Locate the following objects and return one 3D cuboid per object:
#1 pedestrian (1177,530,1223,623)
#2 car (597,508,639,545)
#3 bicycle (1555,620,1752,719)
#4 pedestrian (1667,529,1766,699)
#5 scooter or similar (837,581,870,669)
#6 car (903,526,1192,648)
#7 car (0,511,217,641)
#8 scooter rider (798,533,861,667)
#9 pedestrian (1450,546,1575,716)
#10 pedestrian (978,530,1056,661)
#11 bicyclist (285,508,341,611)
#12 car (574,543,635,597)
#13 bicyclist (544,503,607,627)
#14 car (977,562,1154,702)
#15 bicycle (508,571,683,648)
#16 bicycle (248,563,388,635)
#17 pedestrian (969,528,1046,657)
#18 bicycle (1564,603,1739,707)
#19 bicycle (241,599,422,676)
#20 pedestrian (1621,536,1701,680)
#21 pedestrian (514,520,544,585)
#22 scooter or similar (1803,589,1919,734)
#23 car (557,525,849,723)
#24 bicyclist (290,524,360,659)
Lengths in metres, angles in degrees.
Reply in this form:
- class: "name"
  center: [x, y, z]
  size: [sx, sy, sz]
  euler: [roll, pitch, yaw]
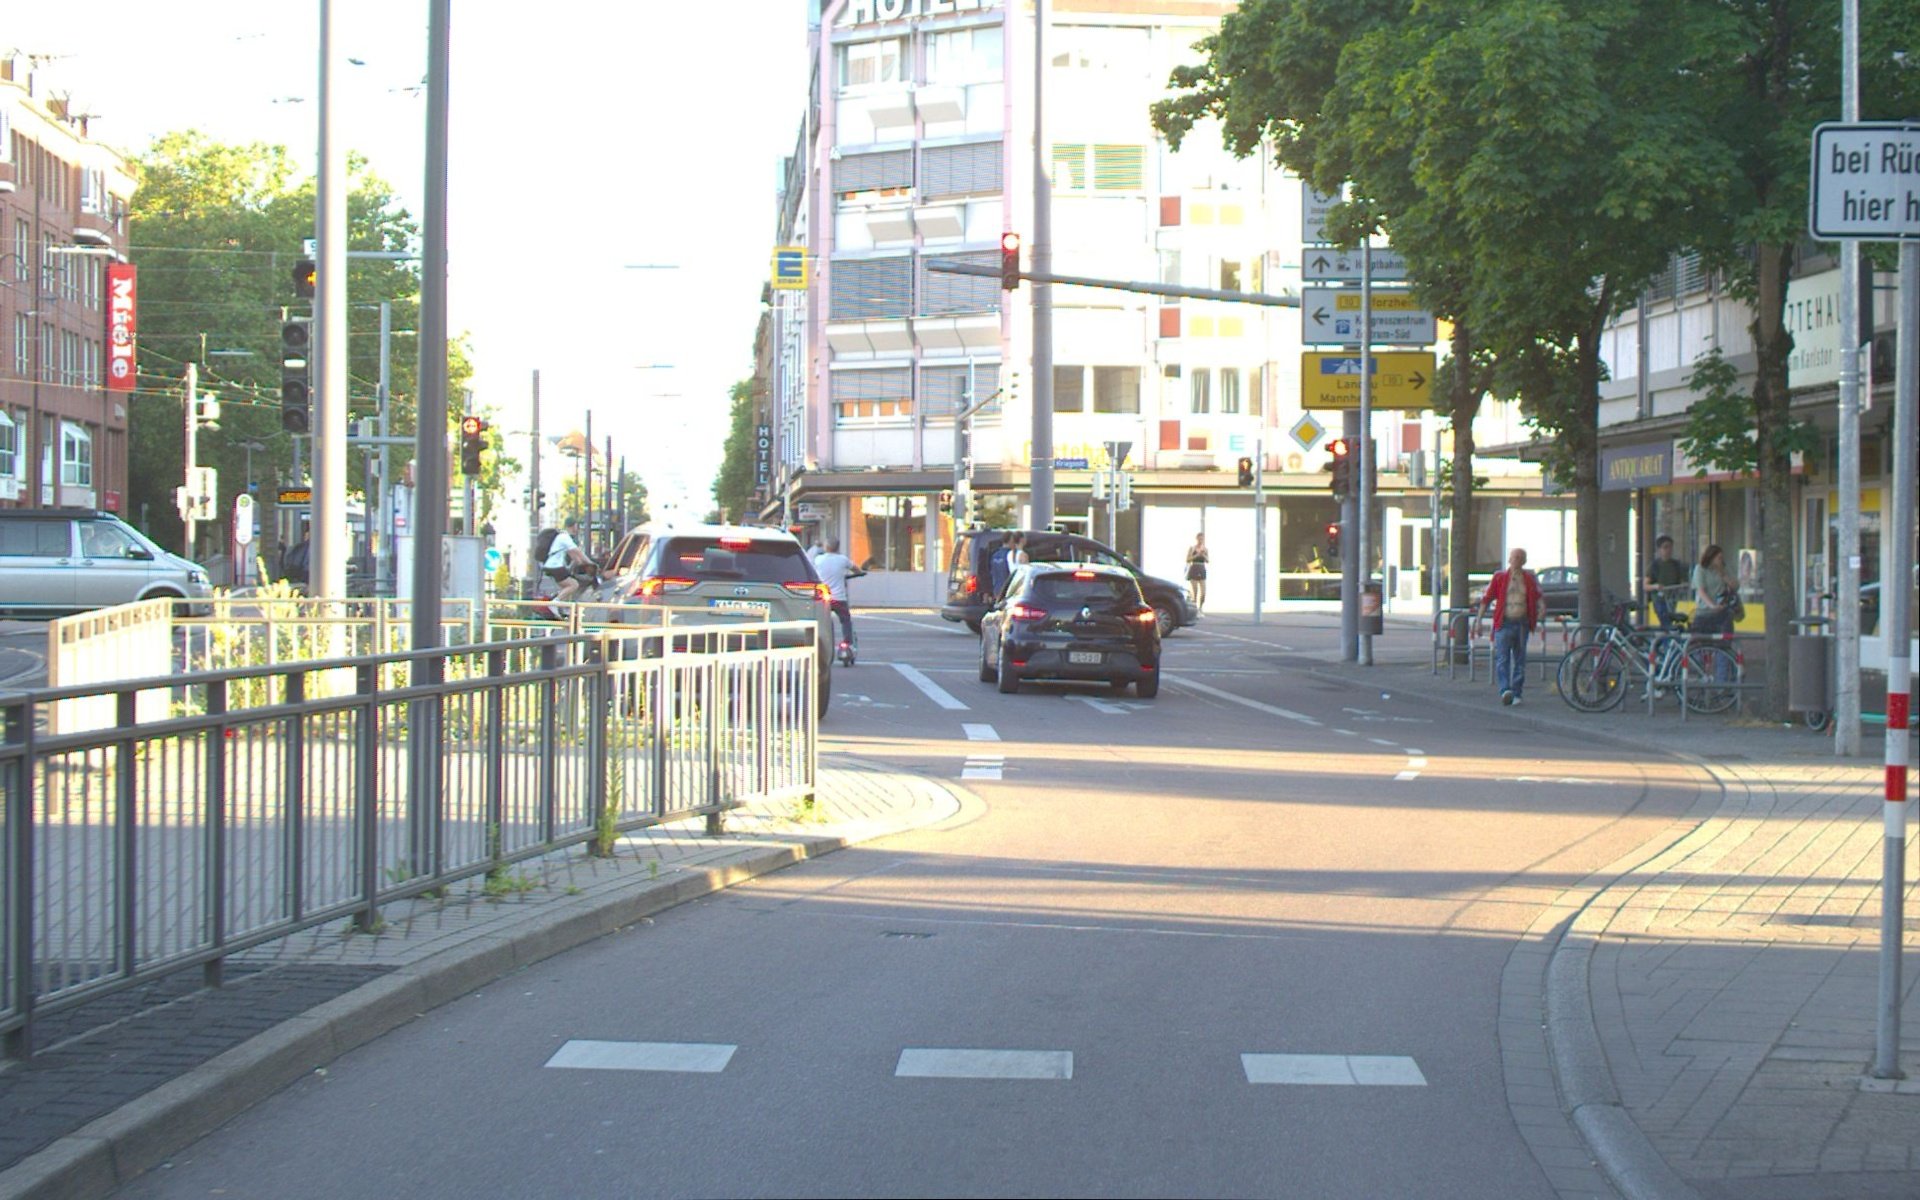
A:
- class: "pedestrian"
  center: [4.693, -0.458, 67.257]
  size: [0.746, 1.772, 0.800]
  euler: [2, 0, -2]
- class: "car"
  center: [-18.312, -3.923, 184.164]
  size: [1.993, 1.894, 4.000]
  euler: [2, 0, -3]
- class: "bicycle"
  center: [6.781, 0.680, 33.659]
  size: [1.818, 0.888, 0.415]
  euler: [2, 0, 3]
- class: "pedestrian"
  center: [8.102, 0.148, 36.831]
  size: [0.746, 1.772, 0.973]
  euler: [2, 0, -3]
- class: "scooter or similar"
  center: [-1.335, 0.305, 43.146]
  size: [0.279, 1.087, 1.257]
  euler: [2, 0, 2]
- class: "car"
  center: [1.487, -0.227, 59.090]
  size: [4.558, 2.030, 2.001]
  euler: [0, 1, -16]
- class: "car"
  center: [-14.278, -0.388, 54.455]
  size: [4.682, 2.007, 2.001]
  euler: [0, 1, -20]
- class: "scooter rider"
  center: [-1.634, 0.003, 43.067]
  size: [0.662, 1.641, 0.661]
  euler: [2, 0, 4]
- class: "pedestrian"
  center: [5.629, 0.306, 35.068]
  size: [0.823, 1.679, 1.049]
  euler: [2, 0, -18]
- class: "pedestrian"
  center: [0.807, -0.069, 49.040]
  size: [0.994, 1.824, 0.729]
  euler: [2, 0, -3]
- class: "bicyclist"
  center: [-9.669, -0.609, 51.392]
  size: [0.704, 1.506, 0.550]
  euler: [-2, 1, -21]
- class: "car"
  center: [-12.186, -1.031, 117.968]
  size: [1.811, 1.740, 3.715]
  euler: [2, 0, -3]
- class: "bicyclist"
  center: [-5.933, -0.544, 53.048]
  size: [0.860, 1.871, 0.647]
  euler: [2, 0, -10]
- class: "car"
  center: [1.125, 0.313, 38.228]
  size: [1.764, 1.435, 4.000]
  euler: [0, 1, -1]
- class: "bicycle"
  center: [-5.636, 0.142, 53.144]
  size: [2.639, 1.096, 0.435]
  euler: [2, 0, -10]
- class: "bicycle"
  center: [-9.595, -0.017, 51.424]
  size: [2.036, 1.024, 0.417]
  euler: [1, 0, -9]
- class: "pedestrian"
  center: [0.685, -0.111, 49.819]
  size: [0.994, 1.824, 0.729]
  euler: [2, 0, -3]
- class: "bicycle"
  center: [6.957, 0.550, 34.623]
  size: [1.657, 0.971, 0.386]
  euler: [2, 0, 3]
- class: "bicycle"
  center: [-9.544, 0.573, 52.238]
  size: [2.639, 1.096, 0.435]
  euler: [2, 0, -23]
- class: "pedestrian"
  center: [8.863, 0.096, 43.490]
  size: [0.746, 1.772, 0.800]
  euler: [2, 0, -4]
- class: "pedestrian"
  center: [-12.195, -1.349, 97.245]
  size: [0.701, 1.816, 0.808]
  euler: [2, 0, -3]
- class: "scooter or similar"
  center: [7.762, 0.516, 29.108]
  size: [1.220, 1.213, 0.294]
  euler: [0, -2, 42]
- class: "car"
  center: [-2.365, 0.168, 30.640]
  size: [1.834, 1.630, 4.092]
  euler: [1, 1, -15]
- class: "bicyclist"
  center: [-9.641, -0.132, 52.198]
  size: [0.860, 2.007, 0.647]
  euler: [2, 0, -23]
